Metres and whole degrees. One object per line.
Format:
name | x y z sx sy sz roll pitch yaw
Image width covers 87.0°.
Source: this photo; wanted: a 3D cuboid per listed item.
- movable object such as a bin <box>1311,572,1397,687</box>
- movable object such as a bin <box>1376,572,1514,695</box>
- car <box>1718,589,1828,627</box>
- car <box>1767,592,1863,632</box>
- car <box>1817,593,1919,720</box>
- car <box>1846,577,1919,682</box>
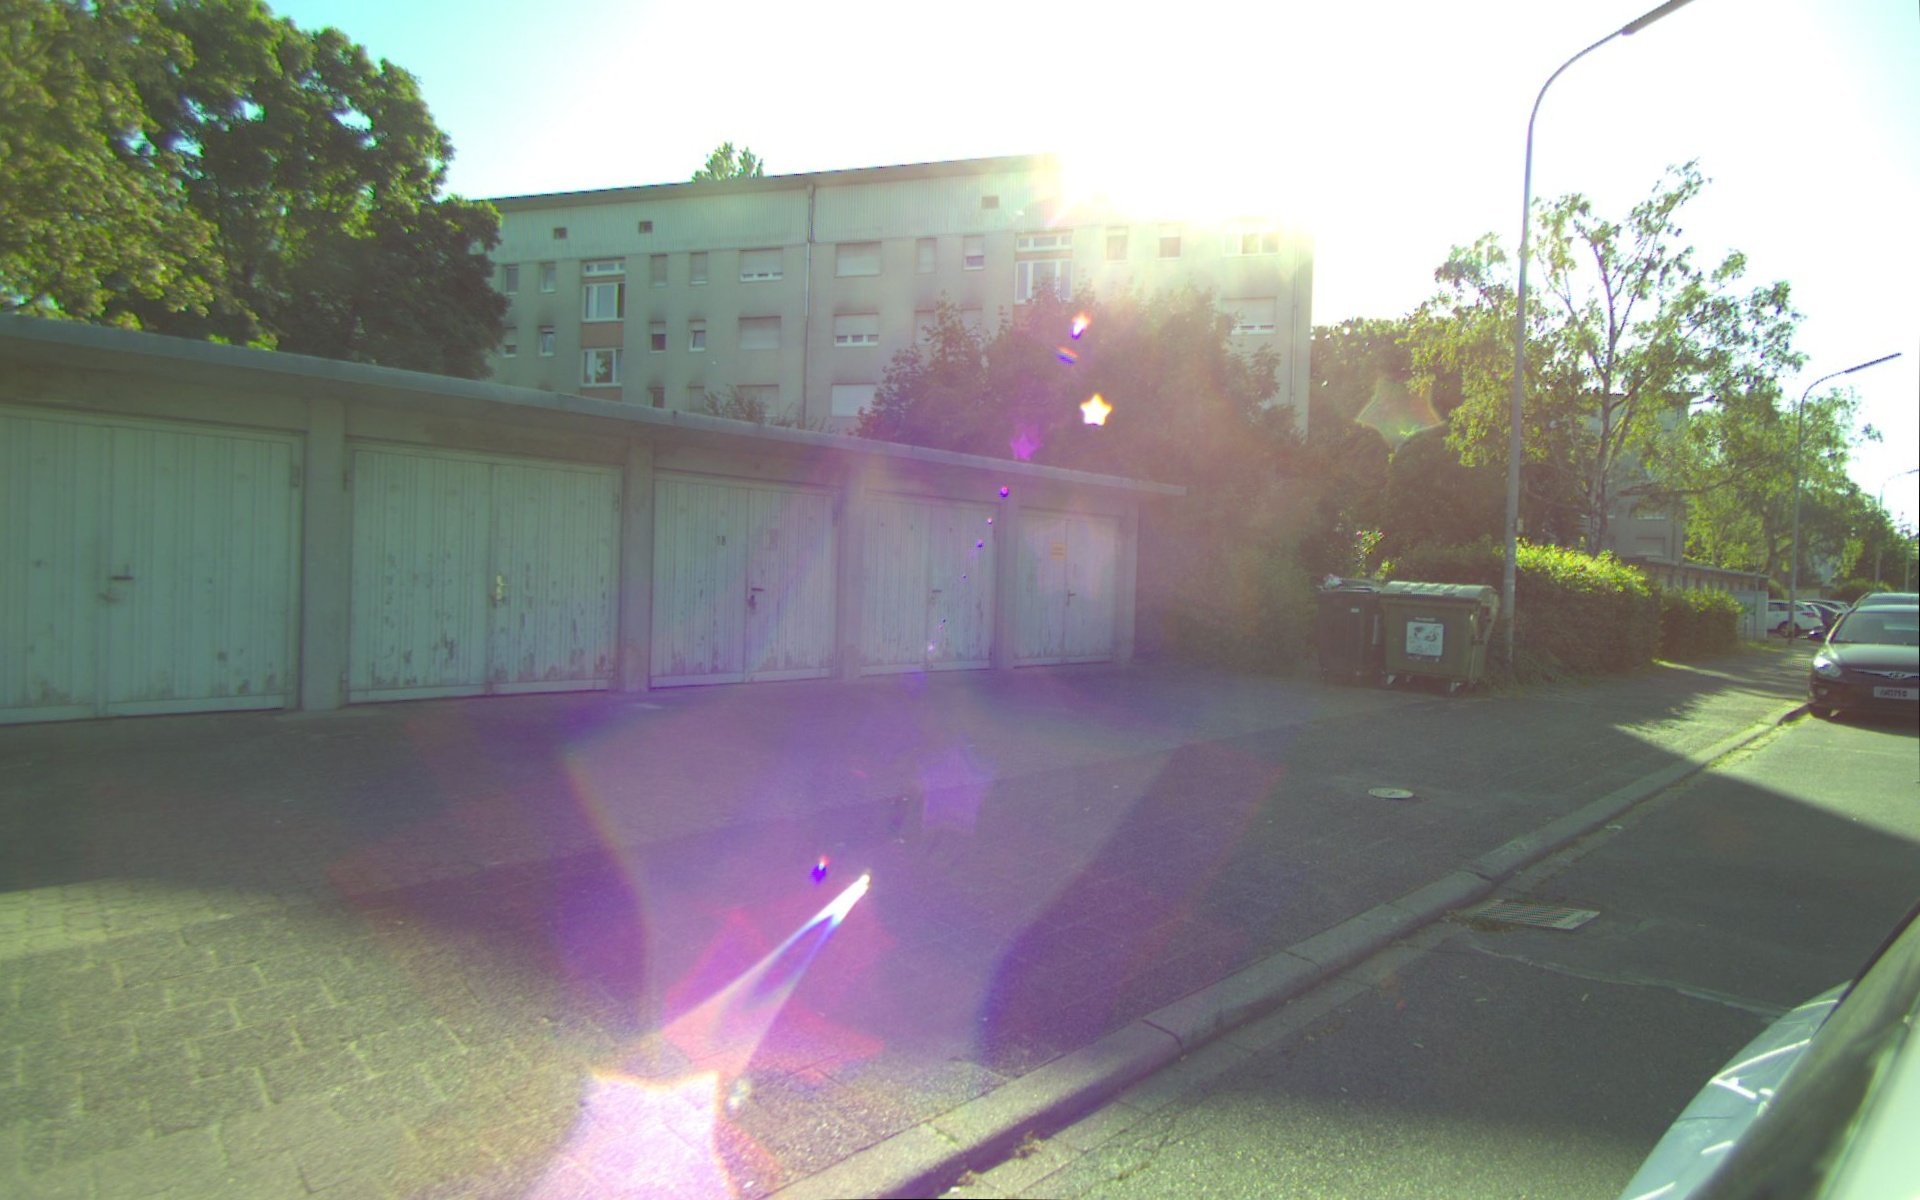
movable object such as a bin | 5.362 0.375 13.783 0.752 1.459 0.835 5 4 44
movable object such as a bin | 6.404 0.393 13.368 1.275 1.459 1.161 5 4 45
car | 33.559 0.303 41.824 3.490 1.527 1.579 0 0 41
car | 45.499 0.600 53.918 1.781 2.039 3.769 0 0 -44
car | 12.640 0.690 13.306 3.749 1.489 1.729 1 1 -44
car | 17.621 0.520 18.574 3.749 1.775 1.729 1 1 -44
